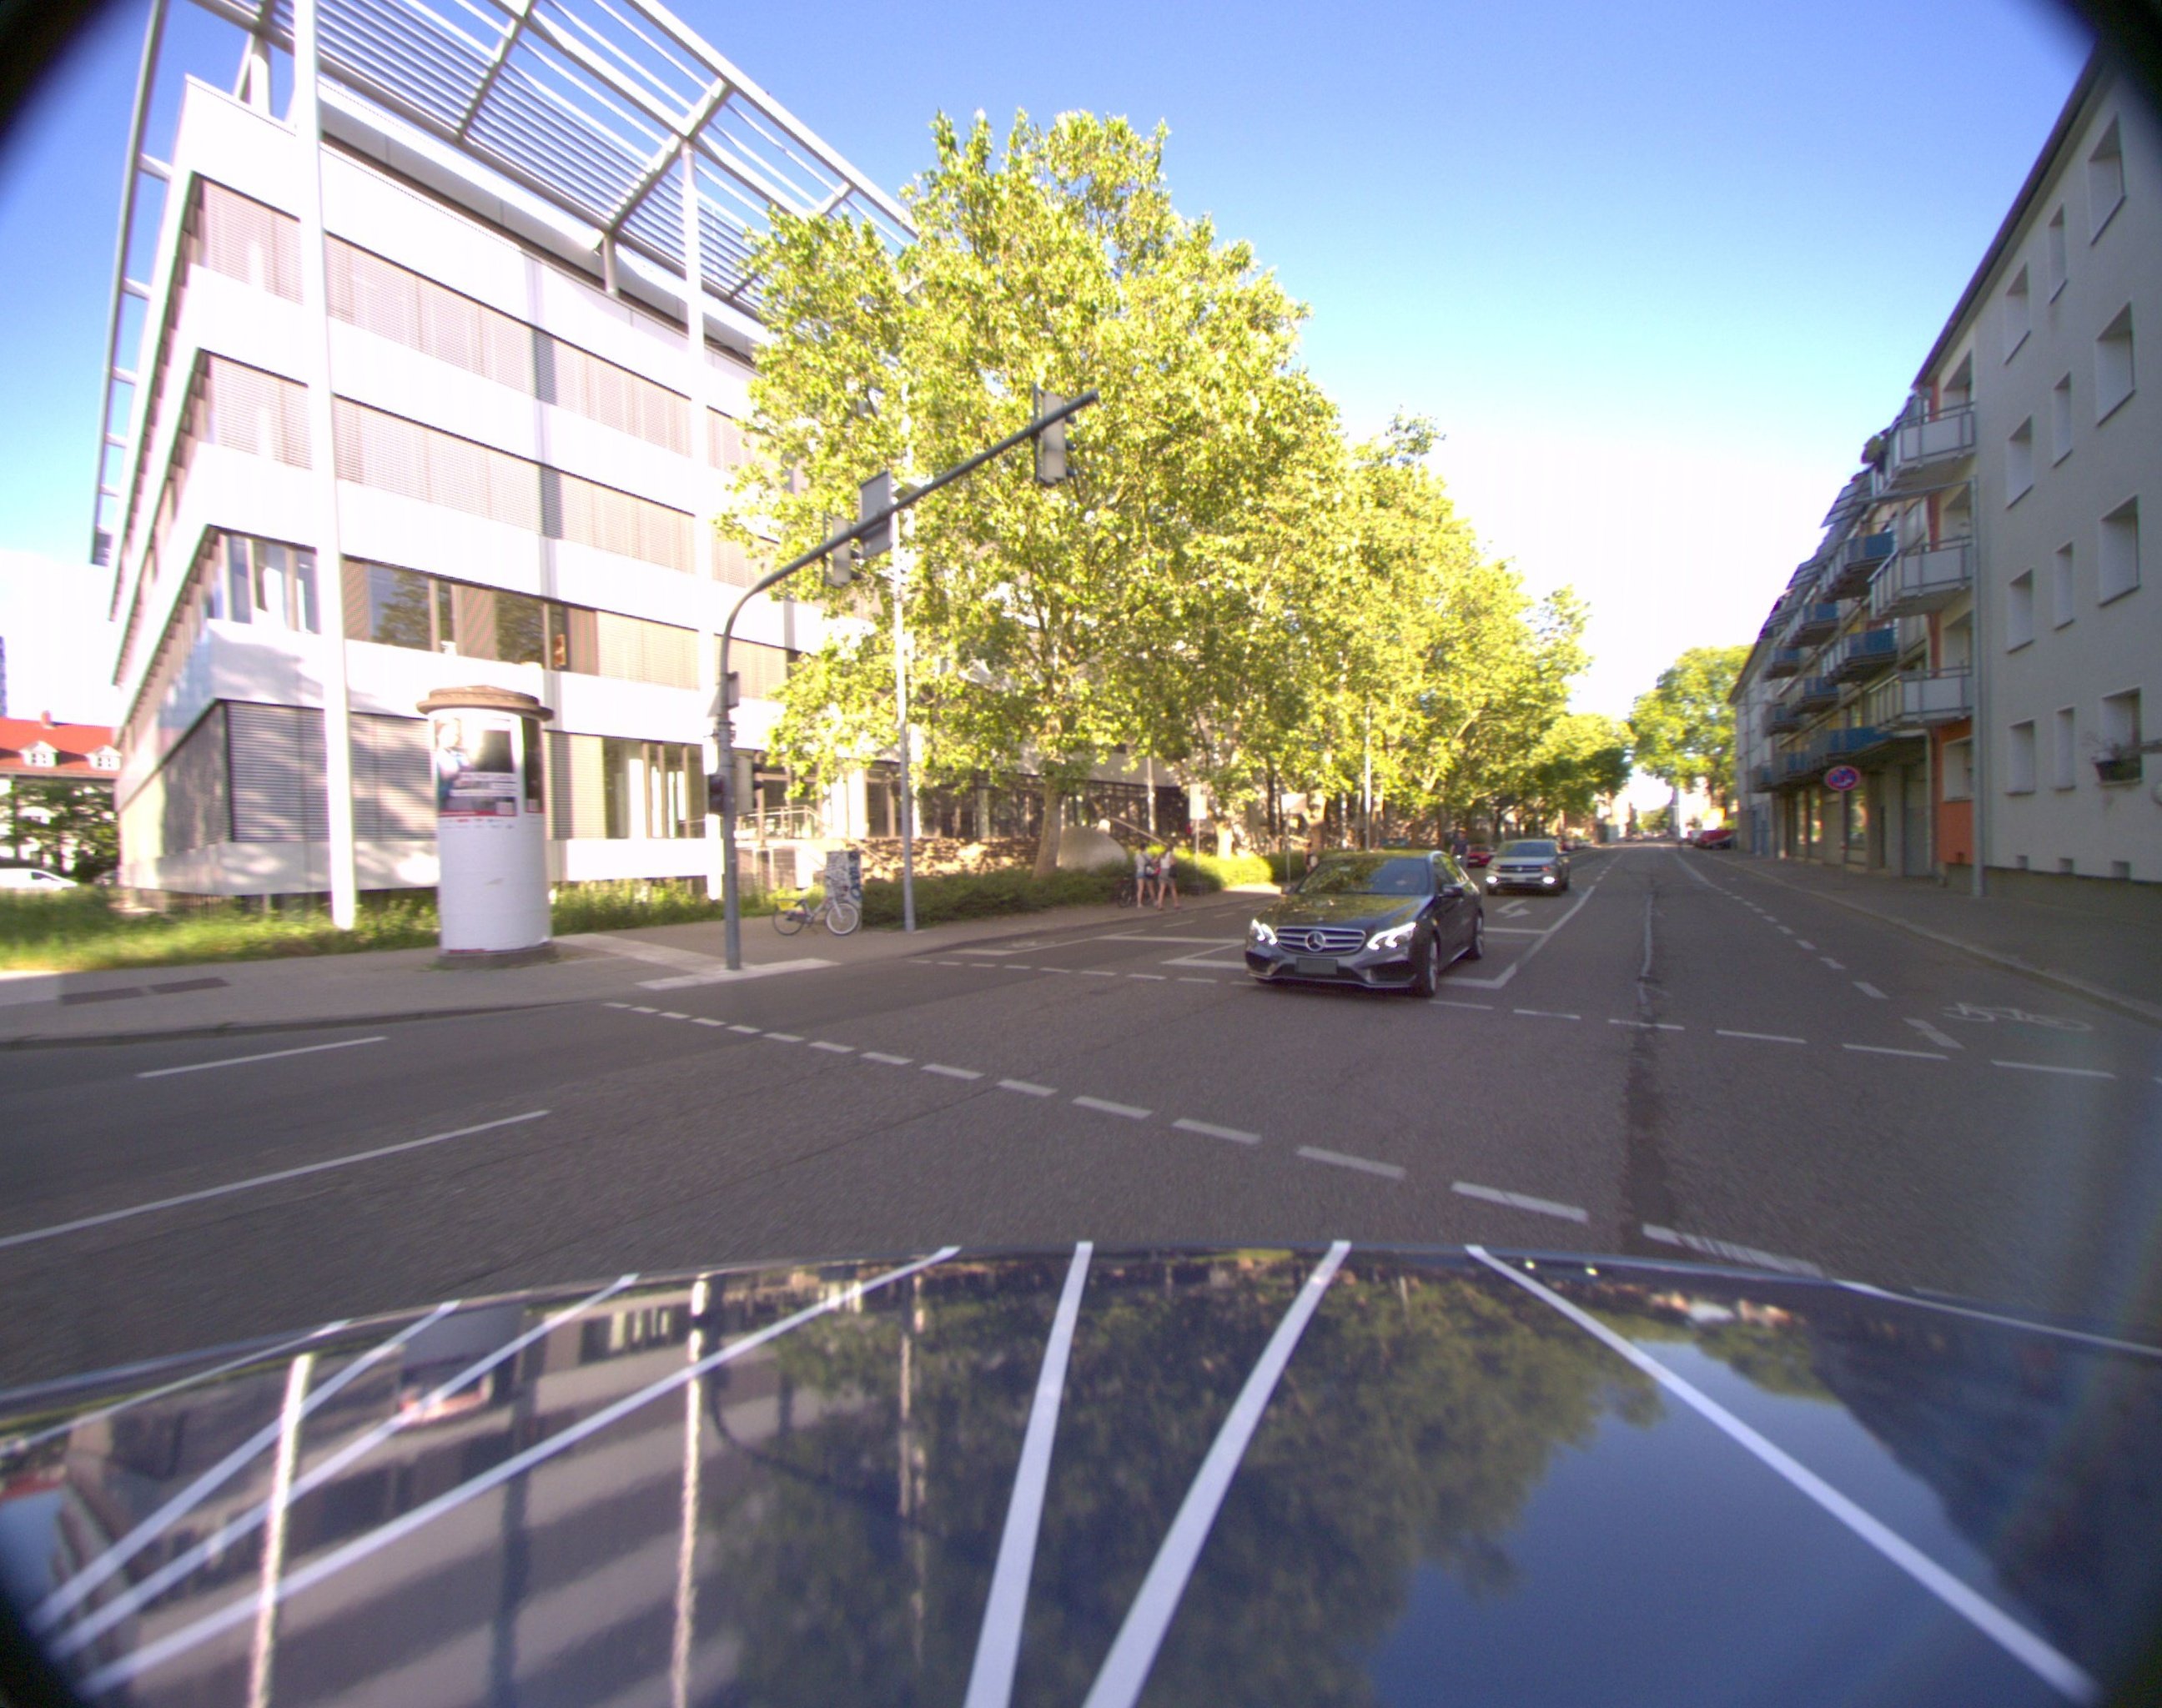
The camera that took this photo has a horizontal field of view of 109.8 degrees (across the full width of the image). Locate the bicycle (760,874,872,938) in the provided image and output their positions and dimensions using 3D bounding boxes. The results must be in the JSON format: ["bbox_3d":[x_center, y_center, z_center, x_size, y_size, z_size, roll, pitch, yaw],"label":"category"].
[{"bbox_3d":[-5.093,0.993,14.637,1.990,1.176,0.471,-1,2,7],"label":"bicycle"}]

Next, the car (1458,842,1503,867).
[{"bbox_3d":[24.579,-0.001,46.661,1.894,1.435,4.085,0,1,35],"label":"car"}]

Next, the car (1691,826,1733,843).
[{"bbox_3d":[79.436,-2.467,95.710,3.989,2.002,2.004,-1,2,35],"label":"car"}]

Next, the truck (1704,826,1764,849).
[{"bbox_3d":[64.539,-1.623,75.194,4.394,2.146,1.881,-1,2,35],"label":"truck"}]

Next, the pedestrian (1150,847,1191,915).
[{"bbox_3d":[2.321,0.679,19.606,0.774,1.710,0.693,0,3,36],"label":"pedestrian"}]

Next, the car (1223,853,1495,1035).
[{"bbox_3d":[3.587,0.802,9.118,1.795,1.460,4.728,-1,1,36],"label":"car"}]

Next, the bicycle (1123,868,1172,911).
[{"bbox_3d":[1.804,0.940,20.366,0.521,1.029,1.650,0,2,36],"label":"bicycle"}]

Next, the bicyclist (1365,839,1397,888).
[{"bbox_3d":[10.558,0.316,26.728,0.768,1.670,0.897,-2,1,36],"label":"bicyclist"}]

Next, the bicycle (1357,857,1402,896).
[{"bbox_3d":[10.525,0.755,26.685,0.769,1.129,2.820,-3,1,35],"label":"bicycle"}]

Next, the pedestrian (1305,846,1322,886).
[{"bbox_3d":[9.375,0.490,30.646,0.461,1.585,0.684,0,2,36],"label":"pedestrian"}]

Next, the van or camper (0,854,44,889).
[{"bbox_3d":[-66.725,1.110,45.688,1.995,2.075,4.739,-1,1,25],"label":"van or camper"}]

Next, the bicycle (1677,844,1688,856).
[{"bbox_3d":[53.249,-0.351,67.275,0.690,0.981,2.636,0,3,36],"label":"bicycle"}]

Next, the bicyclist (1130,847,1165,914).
[{"bbox_3d":[1.750,0.687,20.071,0.633,1.704,0.656,1,5,36],"label":"bicyclist"}]

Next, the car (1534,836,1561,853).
[{"bbox_3d":[46.900,-1.008,76.366,1.894,1.642,4.085,0,1,38],"label":"car"}]

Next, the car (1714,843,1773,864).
[{"bbox_3d":[61.637,-0.063,70.820,3.989,1.825,1.834,-1,2,35],"label":"car"}]

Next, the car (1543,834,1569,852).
[{"bbox_3d":[49.998,-1.135,80.000,1.894,1.841,4.085,0,1,38],"label":"car"}]

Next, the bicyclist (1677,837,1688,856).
[{"bbox_3d":[53.253,-0.683,67.292,0.690,1.622,0.760,0,3,36],"label":"bicyclist"}]

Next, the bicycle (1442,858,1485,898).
[{"bbox_3d":[12.445,0.752,24.667,0.768,1.129,2.821,-2,0,36],"label":"bicycle"}]

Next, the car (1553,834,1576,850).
[{"bbox_3d":[56.516,-1.453,88.871,1.894,1.808,4.085,0,1,38],"label":"car"}]

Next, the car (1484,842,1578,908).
[{"bbox_3d":[12.747,0.514,21.401,1.743,1.594,4.008,0,2,39],"label":"car"}]

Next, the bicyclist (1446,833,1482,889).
[{"bbox_3d":[12.390,0.208,24.576,0.769,1.722,0.902,-6,-1,36],"label":"bicyclist"}]
